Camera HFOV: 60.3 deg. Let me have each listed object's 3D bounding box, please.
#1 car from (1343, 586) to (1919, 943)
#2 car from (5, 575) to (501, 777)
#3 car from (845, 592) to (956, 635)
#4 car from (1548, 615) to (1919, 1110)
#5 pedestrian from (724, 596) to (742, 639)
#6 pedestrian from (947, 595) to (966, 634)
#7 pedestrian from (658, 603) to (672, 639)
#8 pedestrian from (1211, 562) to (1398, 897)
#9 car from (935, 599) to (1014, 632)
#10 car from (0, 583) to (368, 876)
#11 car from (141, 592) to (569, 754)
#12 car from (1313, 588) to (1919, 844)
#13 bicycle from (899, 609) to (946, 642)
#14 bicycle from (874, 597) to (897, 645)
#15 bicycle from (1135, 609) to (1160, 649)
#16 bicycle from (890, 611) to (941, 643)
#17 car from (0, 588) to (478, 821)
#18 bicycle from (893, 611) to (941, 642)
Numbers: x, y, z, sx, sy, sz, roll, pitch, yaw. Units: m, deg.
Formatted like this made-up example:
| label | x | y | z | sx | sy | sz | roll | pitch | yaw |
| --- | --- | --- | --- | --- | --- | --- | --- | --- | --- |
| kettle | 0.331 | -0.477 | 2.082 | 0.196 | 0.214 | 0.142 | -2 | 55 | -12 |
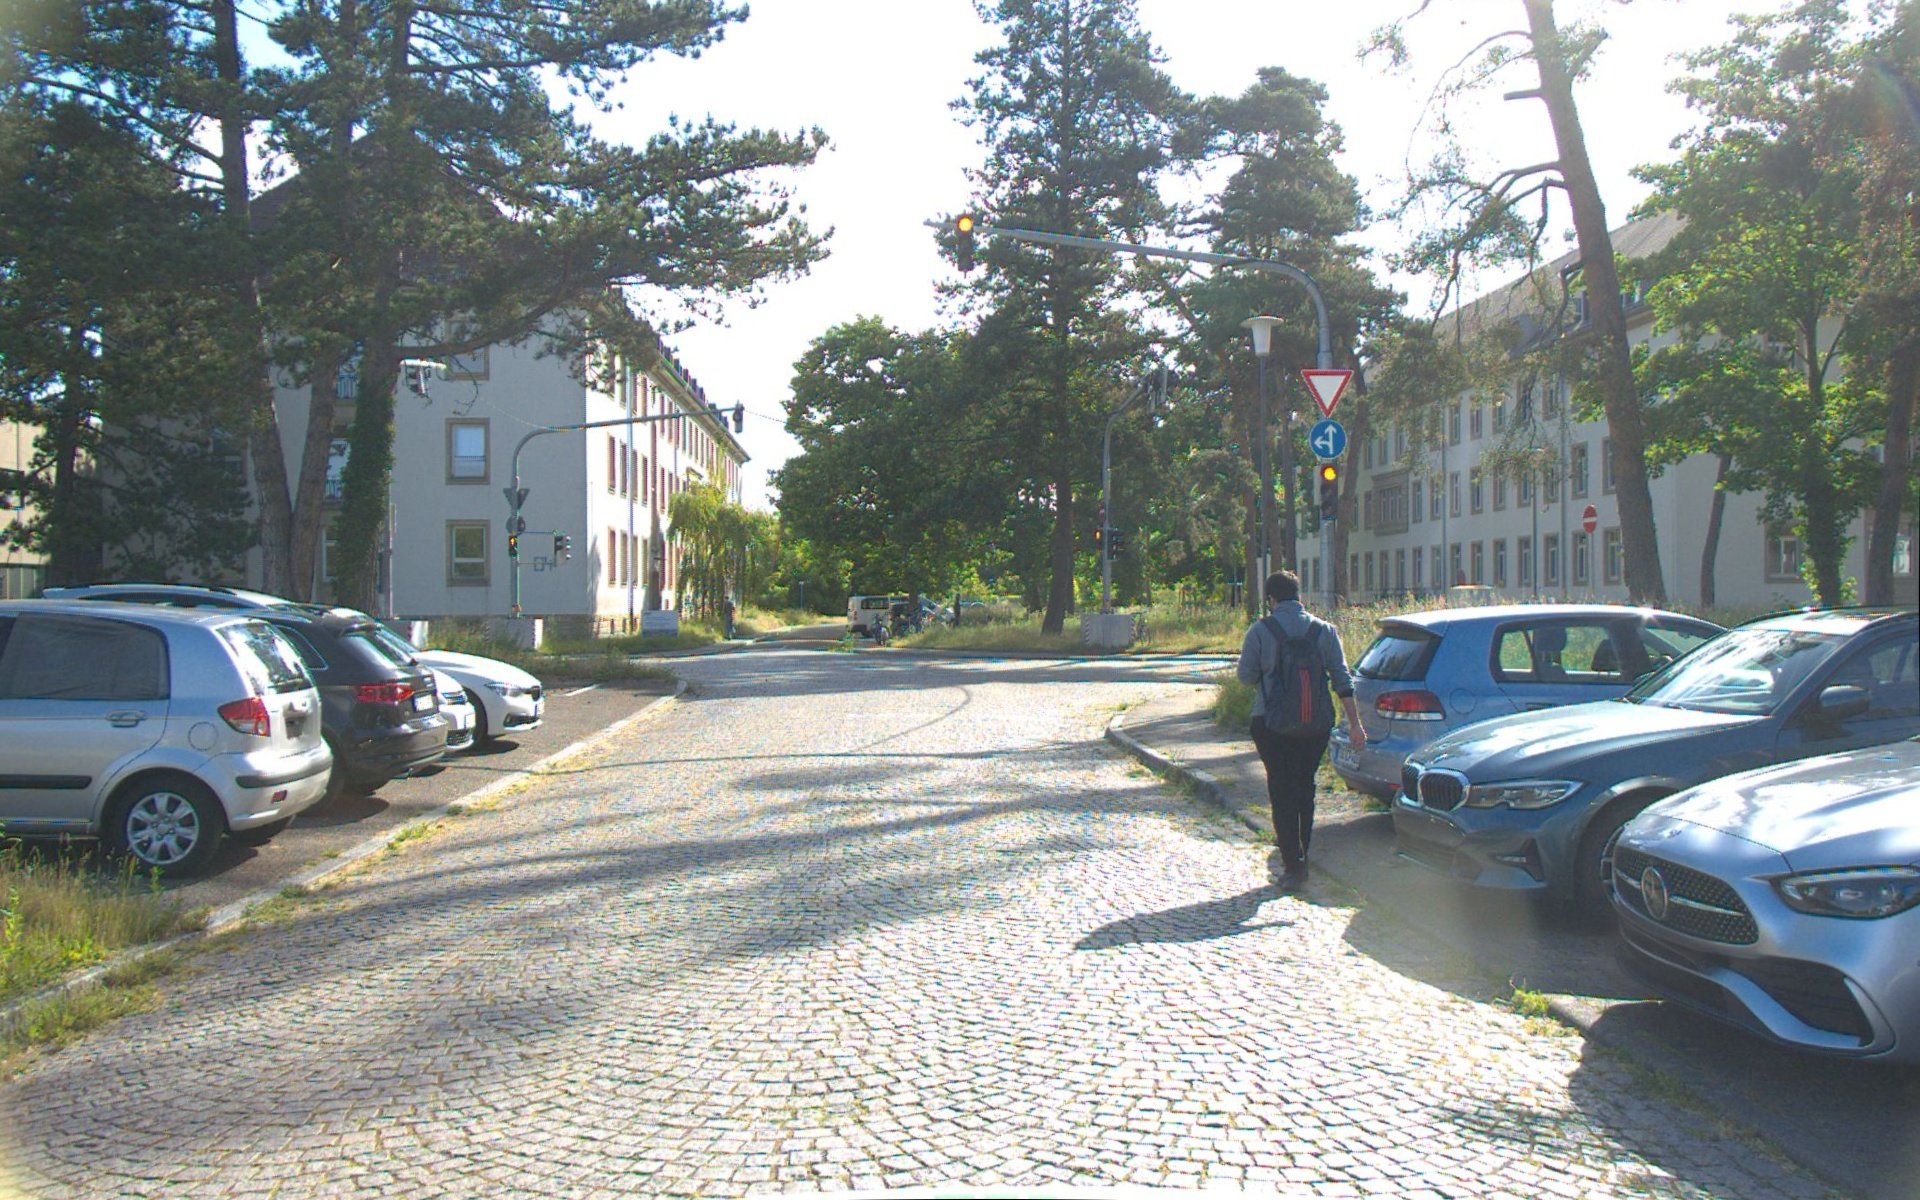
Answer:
| label | x | y | z | sx | sy | sz | roll | pitch | yaw |
| --- | --- | --- | --- | --- | --- | --- | --- | --- | --- |
| car | 4.533 | 0.712 | 8.660 | 4.530 | 1.481 | 1.868 | -3 | 0 | -6 |
| car | -6.372 | 0.673 | 15.248 | 3.803 | 1.643 | 1.659 | 2 | 0 | -4 |
| car | -2.816 | 0.603 | 77.736 | 4.978 | 1.952 | 1.994 | 0 | 0 | -13 |
| car | 4.614 | 0.752 | 5.994 | 4.313 | 1.413 | 1.787 | -2 | 0 | -4 |
| pedestrian | -9.375 | 0.719 | 68.164 | 0.598 | 1.783 | 0.626 | 0 | 0 | -22 |
| pedestrian | -0.149 | 0.671 | 76.370 | 0.746 | 1.815 | 0.682 | 0 | 0 | -11 |
| pedestrian | -13.032 | 0.919 | 73.162 | 0.595 | 1.587 | 0.544 | 0 | 0 | -10 |
| pedestrian | 1.914 | 0.695 | 9.291 | 0.738 | 1.755 | 0.828 | 4 | -1 | -4 |
| car | 0.712 | 0.769 | 81.840 | 3.676 | 1.607 | 1.737 | 0 | 0 | -11 |
| car | -5.630 | 0.683 | 9.814 | 3.614 | 1.554 | 1.697 | 2 | 0 | -6 |
| car | -6.422 | 0.748 | 17.850 | 3.904 | 1.522 | 1.773 | 2 | 0 | 1 |
| car | 4.412 | 0.720 | 11.237 | 3.600 | 1.468 | 1.664 | -2 | 0 | -3 |
| bicycle | -1.376 | 0.932 | 61.125 | 1.694 | 1.185 | 0.560 | 0 | 0 | -7 |
| bicycle | -2.547 | 0.697 | 56.636 | 0.738 | 1.608 | 2.535 | 0 | 0 | -4 |
| bicycle | 5.494 | 0.834 | 48.385 | 0.706 | 1.134 | 2.585 | 0 | 0 | 6 |
| bicycle | -1.608 | 0.967 | 59.884 | 1.799 | 1.132 | 0.494 | 0 | 0 | -7 |
| car | -5.823 | 0.735 | 12.467 | 3.860 | 1.470 | 1.689 | 3 | 0 | -4 |
| bicycle | -1.570 | 0.969 | 60.432 | 1.694 | 1.132 | 0.483 | 0 | 0 | -7 |
